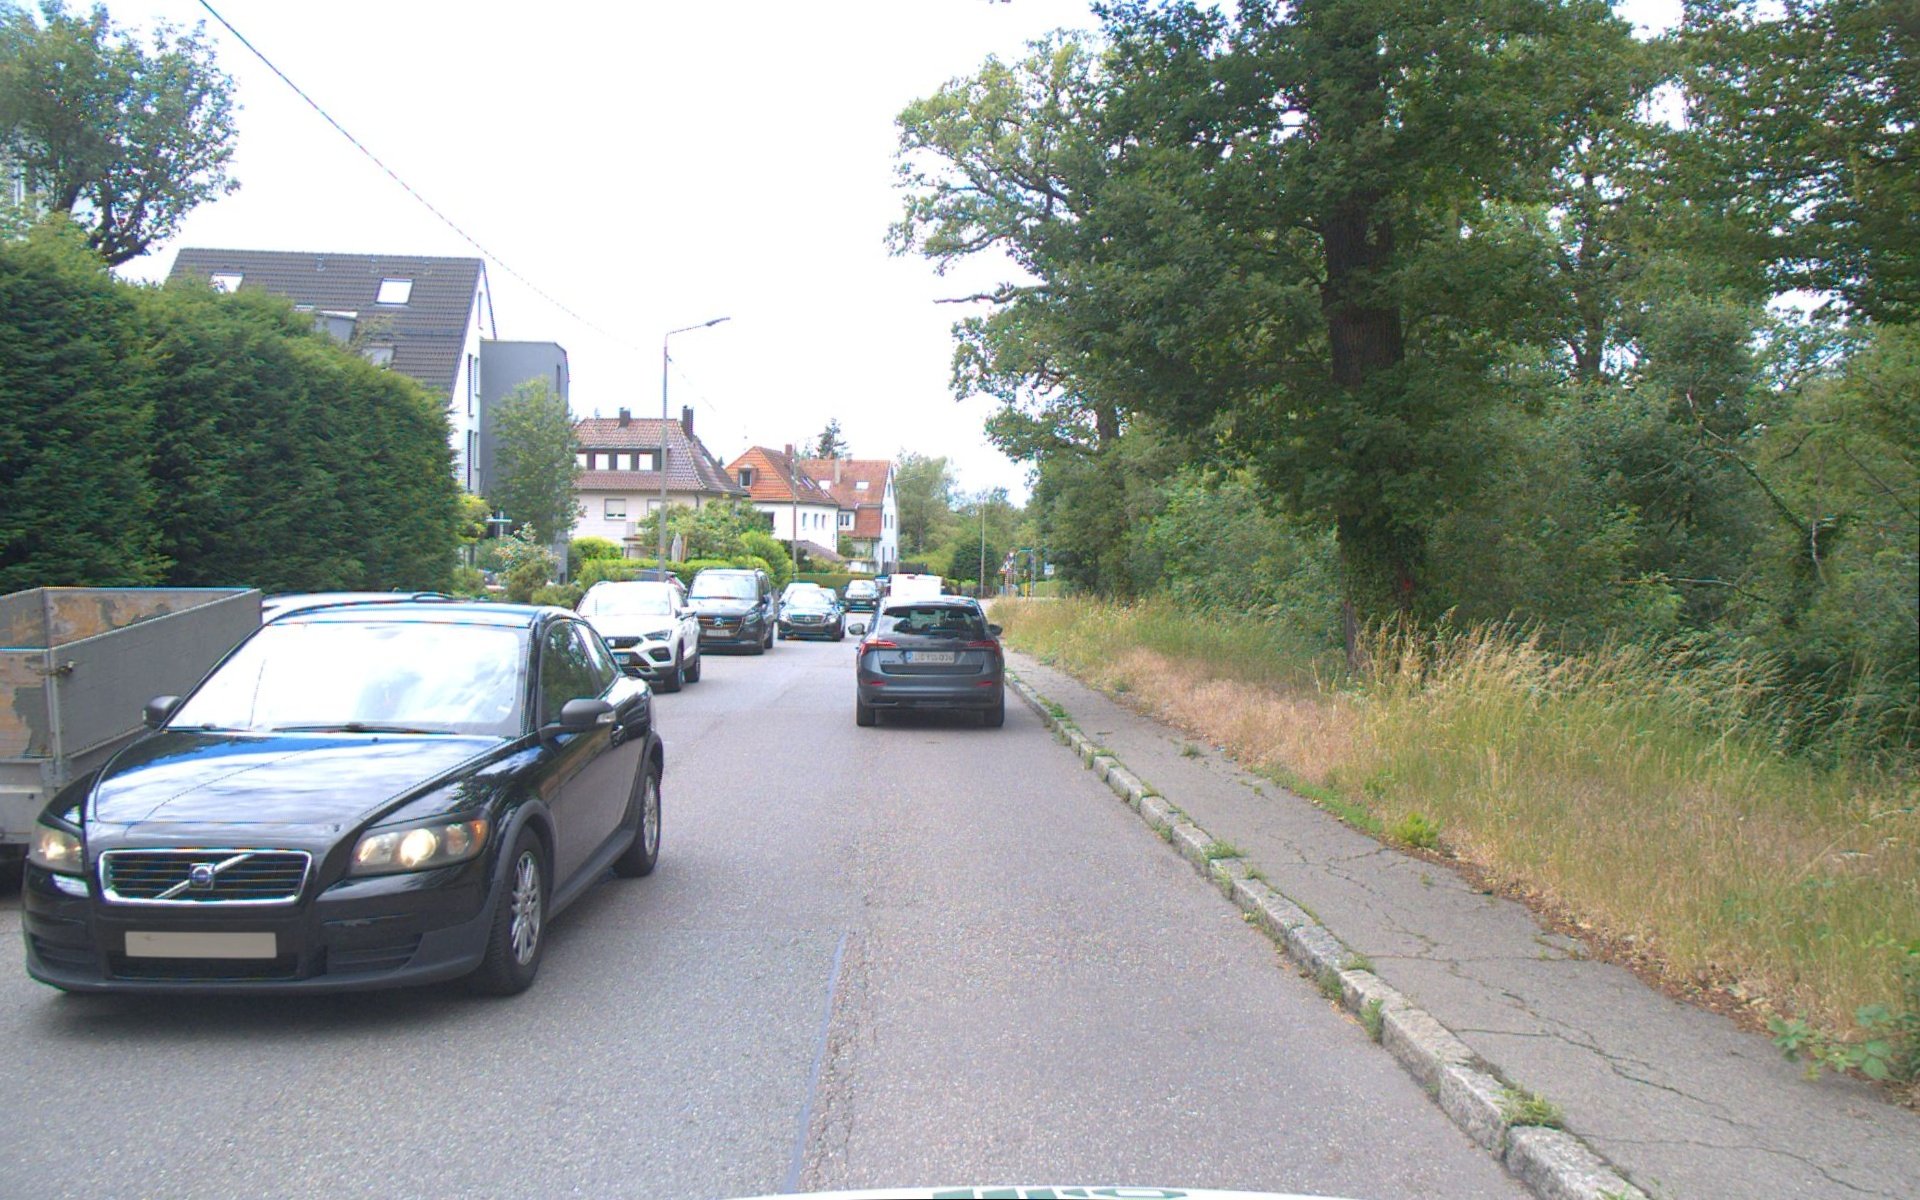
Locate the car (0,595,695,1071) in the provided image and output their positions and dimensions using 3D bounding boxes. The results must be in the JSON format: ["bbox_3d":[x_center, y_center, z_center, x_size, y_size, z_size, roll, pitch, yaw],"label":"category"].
[{"bbox_3d":[-2.392,0.725,7.440,1.727,1.471,4.473,0,0,-1],"label":"car"}]

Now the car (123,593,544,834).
[{"bbox_3d":[-4.659,0.729,13.055,1.728,1.525,4.472,-1,0,-2],"label":"car"}]

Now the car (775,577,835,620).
[{"bbox_3d":[-5.962,-0.064,63.987,1.746,1.526,4.016,2,0,2],"label":"car"}]

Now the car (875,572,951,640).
[{"bbox_3d":[-1.512,0.145,51.152,2.031,1.956,4.917,1,0,-5],"label":"car"}]

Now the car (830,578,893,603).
[{"bbox_3d":[-6.523,-0.635,110.070,3.902,1.646,2.002,1,1,7],"label":"car"}]

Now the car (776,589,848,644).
[{"bbox_3d":[-4.204,0.443,47.488,1.826,1.439,4.590,2,0,-3],"label":"car"}]

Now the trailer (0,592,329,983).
[{"bbox_3d":[-4.648,0.729,7.763,1.727,1.522,4.472,0,0,-1],"label":"trailer"}]

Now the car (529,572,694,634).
[{"bbox_3d":[-10.174,0.074,48.601,4.526,1.727,1.998,1,0,-6],"label":"car"}]

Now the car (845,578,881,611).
[{"bbox_3d":[-5.010,-0.310,85.822,1.797,1.624,4.322,1,1,-3],"label":"car"}]

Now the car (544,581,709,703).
[{"bbox_3d":[-5.002,0.575,25.305,1.801,1.677,4.184,-1,0,-2],"label":"car"}]

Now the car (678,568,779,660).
[{"bbox_3d":[-5.337,0.294,38.745,1.826,1.960,5.035,2,0,-3],"label":"car"}]

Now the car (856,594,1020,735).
[{"bbox_3d":[-0.371,0.695,20.150,1.694,1.464,4.320,1,1,-5],"label":"car"}]
